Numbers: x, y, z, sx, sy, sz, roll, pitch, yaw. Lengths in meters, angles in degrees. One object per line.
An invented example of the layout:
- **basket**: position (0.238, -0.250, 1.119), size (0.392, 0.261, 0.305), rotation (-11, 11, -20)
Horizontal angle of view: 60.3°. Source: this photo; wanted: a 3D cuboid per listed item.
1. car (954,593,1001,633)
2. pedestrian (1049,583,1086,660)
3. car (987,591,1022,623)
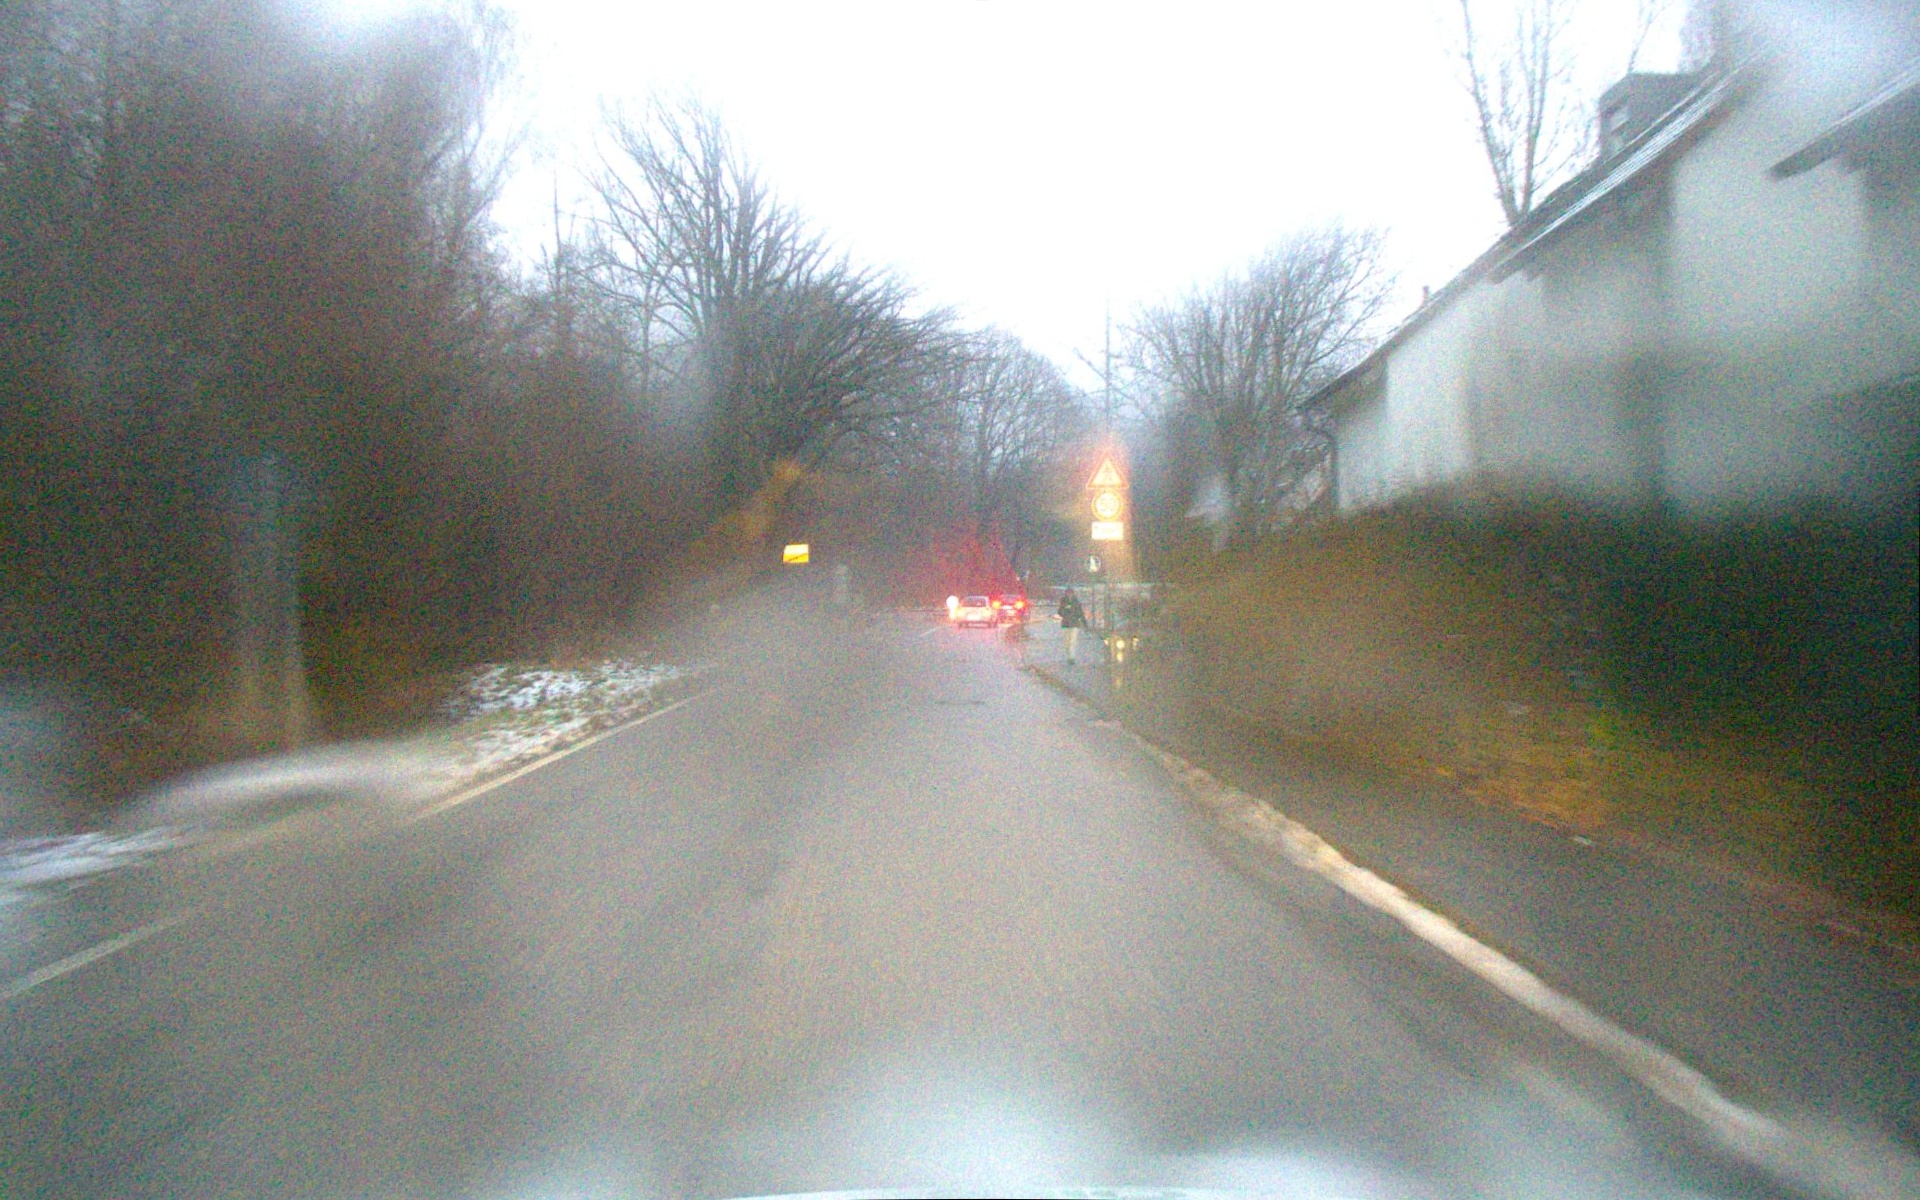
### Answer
- **car**: position (0.855, 0.573, 77.772), size (1.892, 1.812, 4.003), rotation (0, 0, 5)
- **pedestrian**: position (2.386, 0.470, 36.820), size (0.728, 1.684, 0.970), rotation (0, 0, -2)
- **car**: position (2.458, 0.383, 90.380), size (1.892, 1.705, 4.001), rotation (0, 0, 2)
